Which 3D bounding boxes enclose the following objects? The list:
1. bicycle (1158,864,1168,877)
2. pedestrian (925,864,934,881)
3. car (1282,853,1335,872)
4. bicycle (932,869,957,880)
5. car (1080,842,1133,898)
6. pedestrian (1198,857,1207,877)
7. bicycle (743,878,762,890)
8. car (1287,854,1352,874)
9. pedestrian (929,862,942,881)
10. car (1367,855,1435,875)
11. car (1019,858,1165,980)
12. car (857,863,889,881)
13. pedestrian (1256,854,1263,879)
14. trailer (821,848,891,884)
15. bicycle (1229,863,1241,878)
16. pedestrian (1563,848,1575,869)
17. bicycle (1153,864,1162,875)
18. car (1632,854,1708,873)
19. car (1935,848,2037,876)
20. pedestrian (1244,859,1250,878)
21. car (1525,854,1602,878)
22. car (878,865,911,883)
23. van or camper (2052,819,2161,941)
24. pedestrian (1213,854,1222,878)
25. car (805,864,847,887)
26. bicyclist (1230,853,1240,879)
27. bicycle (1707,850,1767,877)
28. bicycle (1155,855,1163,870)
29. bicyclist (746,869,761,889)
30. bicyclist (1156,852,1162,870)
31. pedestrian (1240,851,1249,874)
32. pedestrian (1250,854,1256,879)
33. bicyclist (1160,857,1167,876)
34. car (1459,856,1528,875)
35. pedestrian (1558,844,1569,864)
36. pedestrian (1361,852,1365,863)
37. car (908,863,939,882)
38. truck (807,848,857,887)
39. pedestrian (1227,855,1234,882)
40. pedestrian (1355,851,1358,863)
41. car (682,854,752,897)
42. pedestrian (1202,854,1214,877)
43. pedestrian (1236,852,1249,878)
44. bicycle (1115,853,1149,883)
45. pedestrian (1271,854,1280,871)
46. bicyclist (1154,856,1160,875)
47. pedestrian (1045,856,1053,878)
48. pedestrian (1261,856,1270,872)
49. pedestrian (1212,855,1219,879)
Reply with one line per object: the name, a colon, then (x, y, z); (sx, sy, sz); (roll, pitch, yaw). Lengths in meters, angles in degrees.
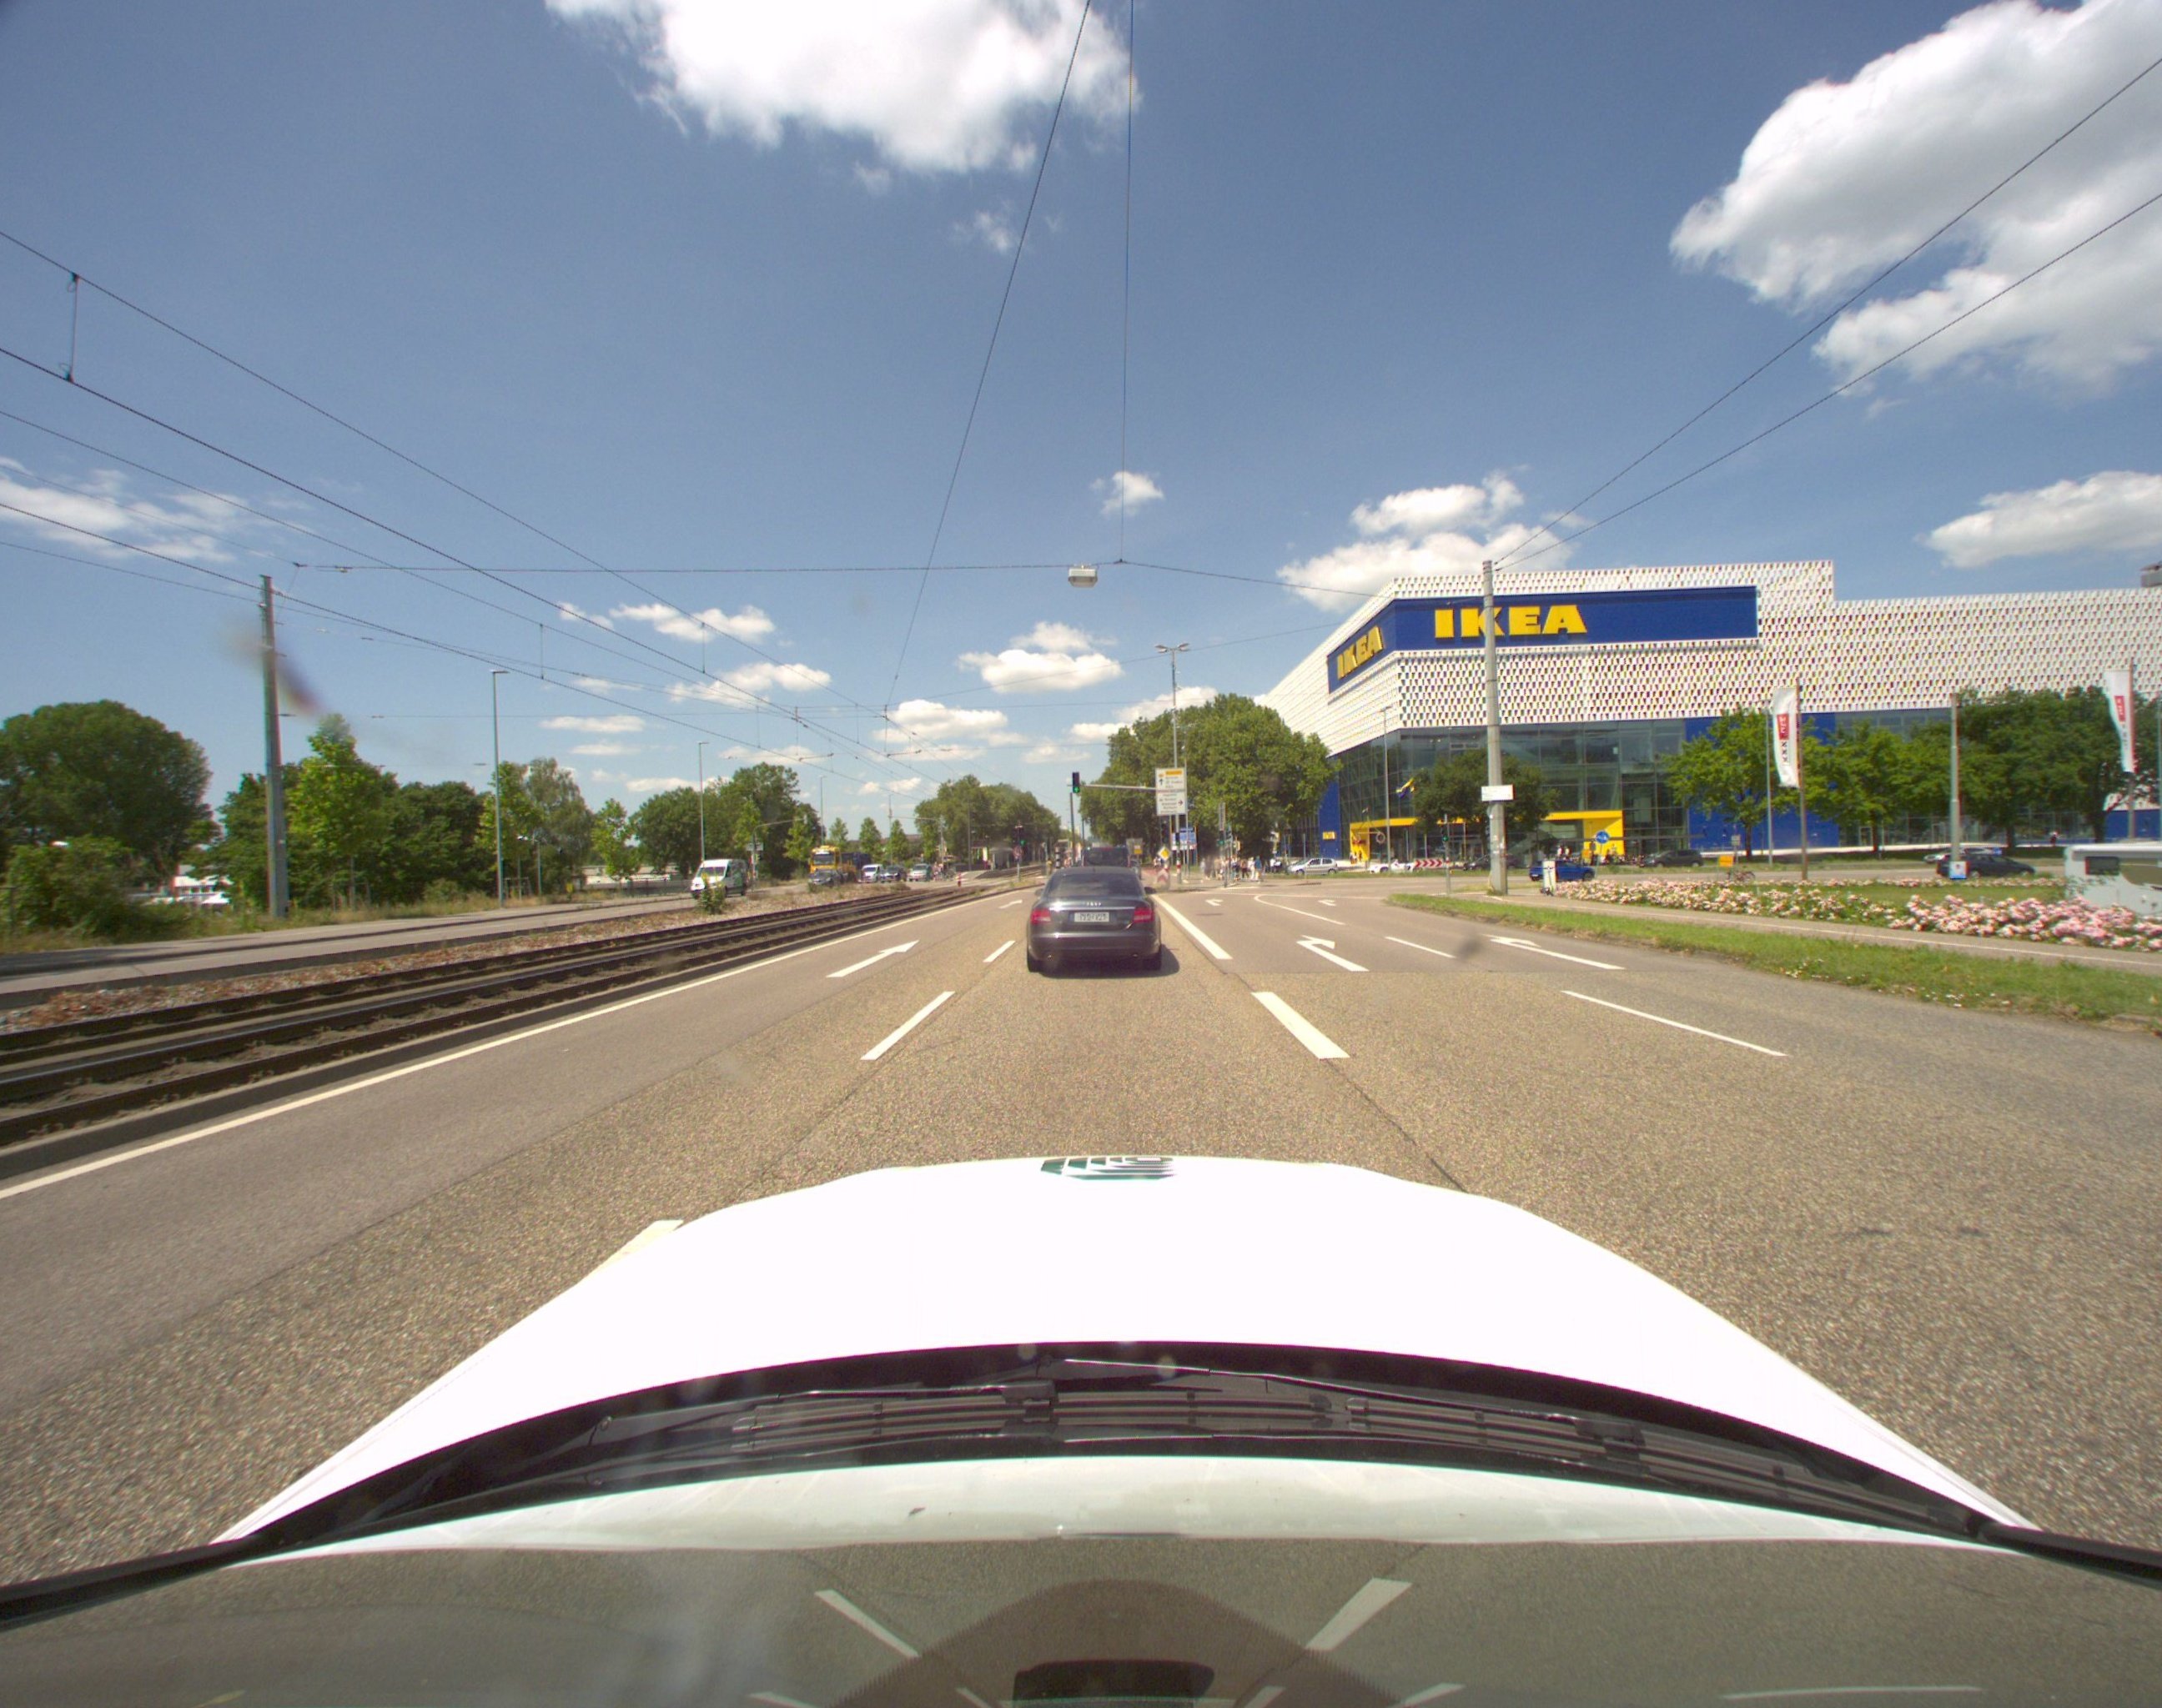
bicycle: (7.129, 1.416, 70.621); (0.685, 1.006, 2.753); (-1, 0, 2)
pedestrian: (-13.406, 1.610, 72.017); (0.683, 1.443, 0.572); (-1, -1, -2)
car: (18.213, 0.706, 65.342); (3.770, 1.486, 2.003); (0, 0, 5)
bicycle: (-11.924, 1.791, 71.138); (2.055, 0.925, 0.751); (-1, -1, -8)
car: (0.959, 0.577, 30.528); (1.830, 1.950, 4.001); (-1, -1, 2)
pedestrian: (9.192, 1.008, 61.660); (0.490, 1.520, 0.710); (-1, -1, 19)
bicycle: (-28.877, 2.625, 71.530); (1.487, 0.987, 0.485); (-1, -1, -2)
car: (18.154, 0.759, 62.108); (4.475, 1.486, 2.003); (0, 0, 5)
pedestrian: (-13.340, 1.587, 74.678); (0.816, 1.720, 0.779); (-1, -1, 24)
car: (24.328, 0.811, 61.983); (4.475, 1.486, 2.003); (0, 0, 5)
car: (0.211, 0.824, 12.186); (1.786, 1.455, 4.002); (-1, 0, 2)
car: (-20.937, 1.798, 82.097); (1.814, 1.670, 4.465); (0, 0, 3)
pedestrian: (11.972, 0.836, 54.556); (0.396, 1.635, 0.371); (-1, -1, 4)
trailer: (-24.093, 1.262, 88.430); (2.757, 3.518, 15.883); (-1, 0, 2)
bicycle: (10.483, 1.128, 55.458); (0.654, 1.022, 1.869); (-1, 0, 15)
pedestrian: (48.428, 0.432, 80.768); (0.707, 2.014, 0.825); (-1, -1, 4)
bicycle: (7.158, 1.408, 76.614); (0.685, 0.993, 2.753); (-1, 0, 2)
car: (46.646, 0.742, 64.576); (4.475, 1.486, 2.003); (0, 0, 5)
car: (54.023, 0.467, 48.673); (4.072, 1.526, 1.767); (-1, 0, 1)
pedestrian: (11.193, 0.977, 54.893); (0.371, 1.304, 0.365); (-1, -1, 4)
car: (30.797, 0.749, 52.037); (3.983, 1.454, 1.839); (0, 0, -7)
car: (-18.026, 1.876, 78.835); (1.814, 1.670, 4.467); (0, 0, 5)
van or camper: (27.990, 0.625, 19.013); (2.494, 3.020, 7.234); (-1, 0, 6)
pedestrian: (9.595, 0.828, 57.245); (0.551, 1.635, 0.433); (-1, -1, 4)
car: (-20.180, 1.683, 64.708); (1.815, 1.670, 4.463); (0, 0, 2)
bicyclist: (10.432, 0.790, 55.182); (0.525, 1.764, 0.831); (-1, -1, 15)
bicycle: (36.661, 0.546, 45.539); (2.410, 1.481, 0.990); (-1, -1, 6)
bicycle: (7.680, 0.824, 80.450); (0.685, 1.519, 2.753); (-1, 0, 2)
bicyclist: (-28.769, 2.215, 71.497); (1.116, 1.774, 0.340); (-1, -1, -3)
bicyclist: (7.685, 0.677, 79.997); (0.527, 1.789, 1.088); (-1, -1, 2)
pedestrian: (12.044, 0.604, 60.023); (0.518, 1.670, 0.495); (-1, -1, 5)
pedestrian: (11.542, 0.852, 54.599); (0.319, 1.635, 0.377); (-1, -1, 5)
bicyclist: (7.170, 1.092, 70.711); (0.526, 1.676, 1.088); (-1, -1, 2)
car: (33.010, 0.894, 65.242); (4.475, 1.486, 2.003); (-1, 0, 5)
pedestrian: (48.415, 0.026, 81.730); (0.707, 2.014, 0.825); (-1, -1, 4)
pedestrian: (34.163, 0.373, 98.689); (0.287, 1.342, 0.266); (-1, -1, 1)
car: (-15.210, 1.771, 78.967); (1.814, 1.670, 4.466); (0, 0, 4)
truck: (-24.351, 1.302, 79.935); (2.757, 3.569, 6.442); (-1, -1, 2)
pedestrian: (9.098, 0.887, 49.590); (0.379, 1.635, 0.377); (-1, -1, 4)
pedestrian: (33.328, 0.369, 98.512); (0.287, 1.342, 0.266); (-1, -1, 1)
car: (-24.419, 1.373, 54.909); (2.239, 2.589, 6.224); (-4, 0, -5)
pedestrian: (9.144, 0.804, 58.616); (0.706, 1.635, 0.711); (-1, -1, 27)
pedestrian: (11.586, 0.798, 58.487); (0.678, 1.846, 0.711); (-1, -1, 27)
bicycle: (3.588, 0.931, 56.853); (1.982, 2.014, 4.010); (-1, 0, 9)
pedestrian: (18.655, 0.849, 78.106); (0.698, 1.635, 0.615); (-1, -1, 21)
bicyclist: (7.164, 1.062, 76.914); (0.526, 1.789, 1.088); (-1, -1, 2)
pedestrian: (-2.963, 1.198, 74.866); (0.683, 2.014, 0.572); (-1, -1, -3)
pedestrian: (17.768, 0.996, 78.440); (0.698, 1.544, 0.681); (-1, -1, 21)
pedestrian: (9.408, 0.892, 57.075); (0.443, 1.635, 0.430); (-1, -1, 4)
